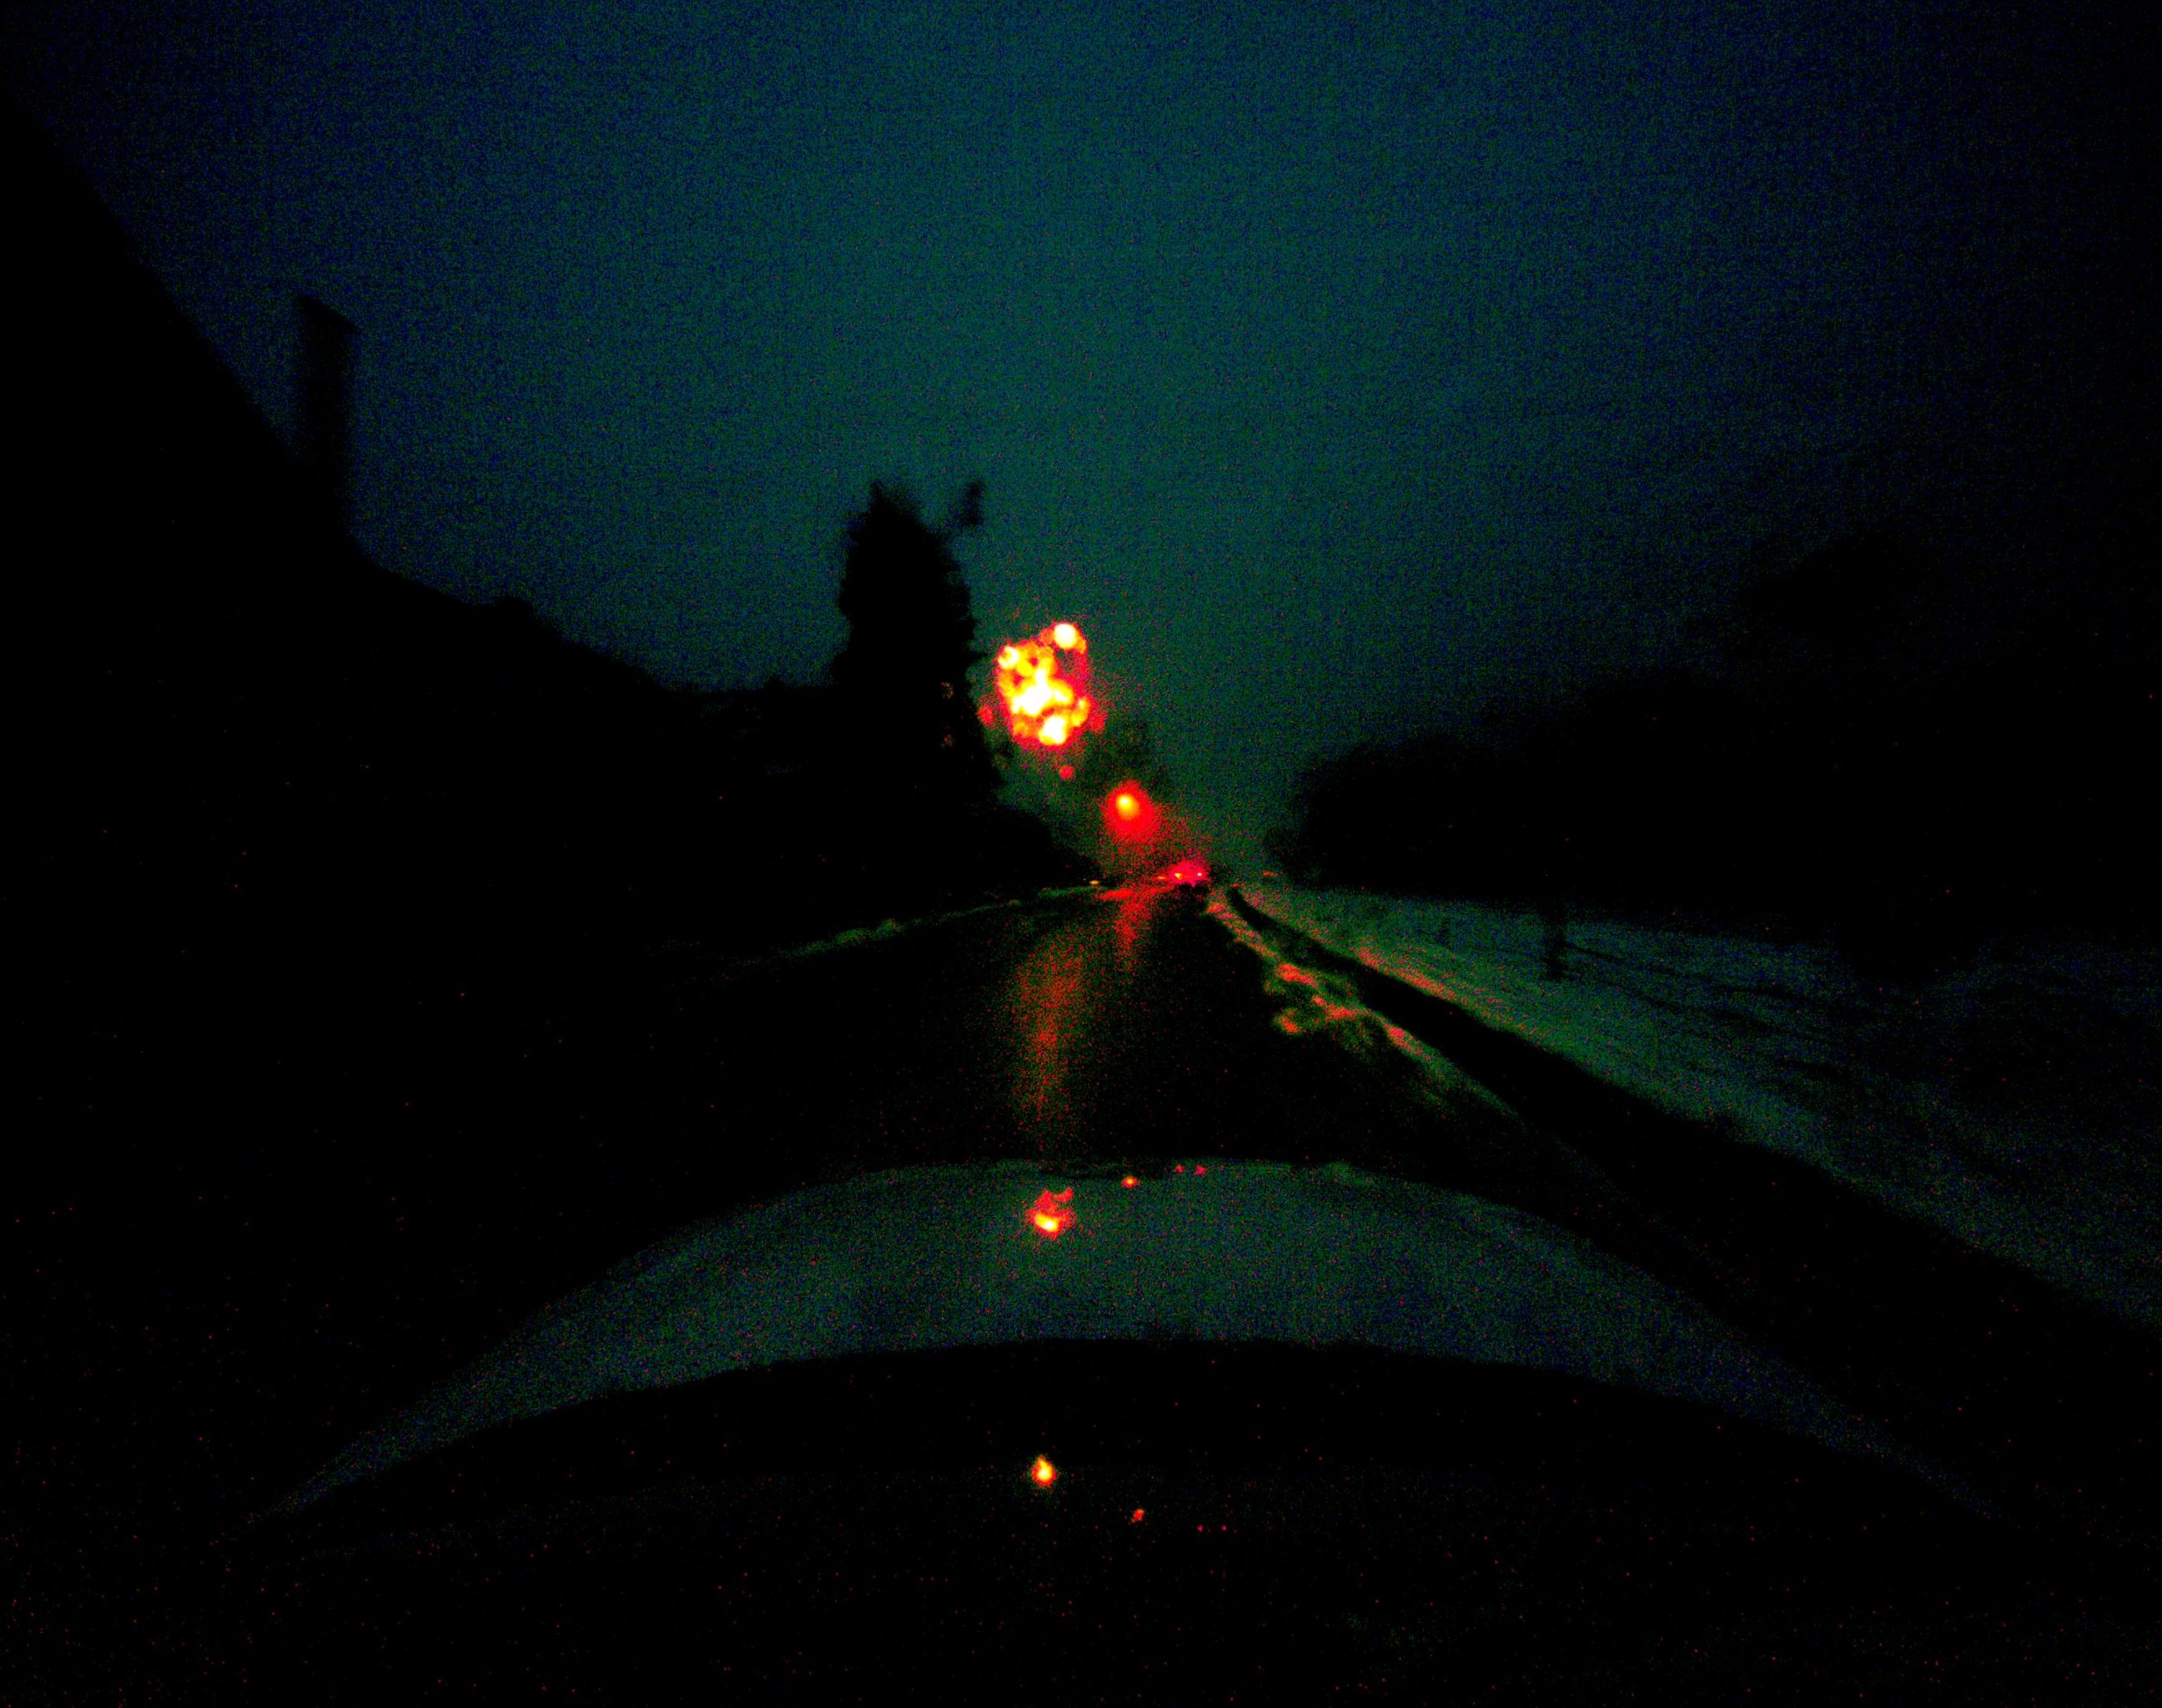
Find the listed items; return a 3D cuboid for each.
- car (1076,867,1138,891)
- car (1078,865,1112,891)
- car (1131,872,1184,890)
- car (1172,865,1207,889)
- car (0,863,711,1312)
[{"bbox_3d":[2.024,1.972,63.025,4.503,1.566,2.114,-3,-3,7],"label":"car"},{"bbox_3d":[0.954,1.757,57.336,1.989,1.566,4.991,-4,-3,-3],"label":"car"},{"bbox_3d":[7.642,2.731,81.425,4.851,1.485,2.131,-4,-3,15],"label":"car"},{"bbox_3d":[6.783,1.437,50.701,1.982,1.420,4.010,-1,-1,9],"label":"car"},{"bbox_3d":[-4.373,0.796,4.500,1.868,1.426,5.398,0,0,4],"label":"car"}]
